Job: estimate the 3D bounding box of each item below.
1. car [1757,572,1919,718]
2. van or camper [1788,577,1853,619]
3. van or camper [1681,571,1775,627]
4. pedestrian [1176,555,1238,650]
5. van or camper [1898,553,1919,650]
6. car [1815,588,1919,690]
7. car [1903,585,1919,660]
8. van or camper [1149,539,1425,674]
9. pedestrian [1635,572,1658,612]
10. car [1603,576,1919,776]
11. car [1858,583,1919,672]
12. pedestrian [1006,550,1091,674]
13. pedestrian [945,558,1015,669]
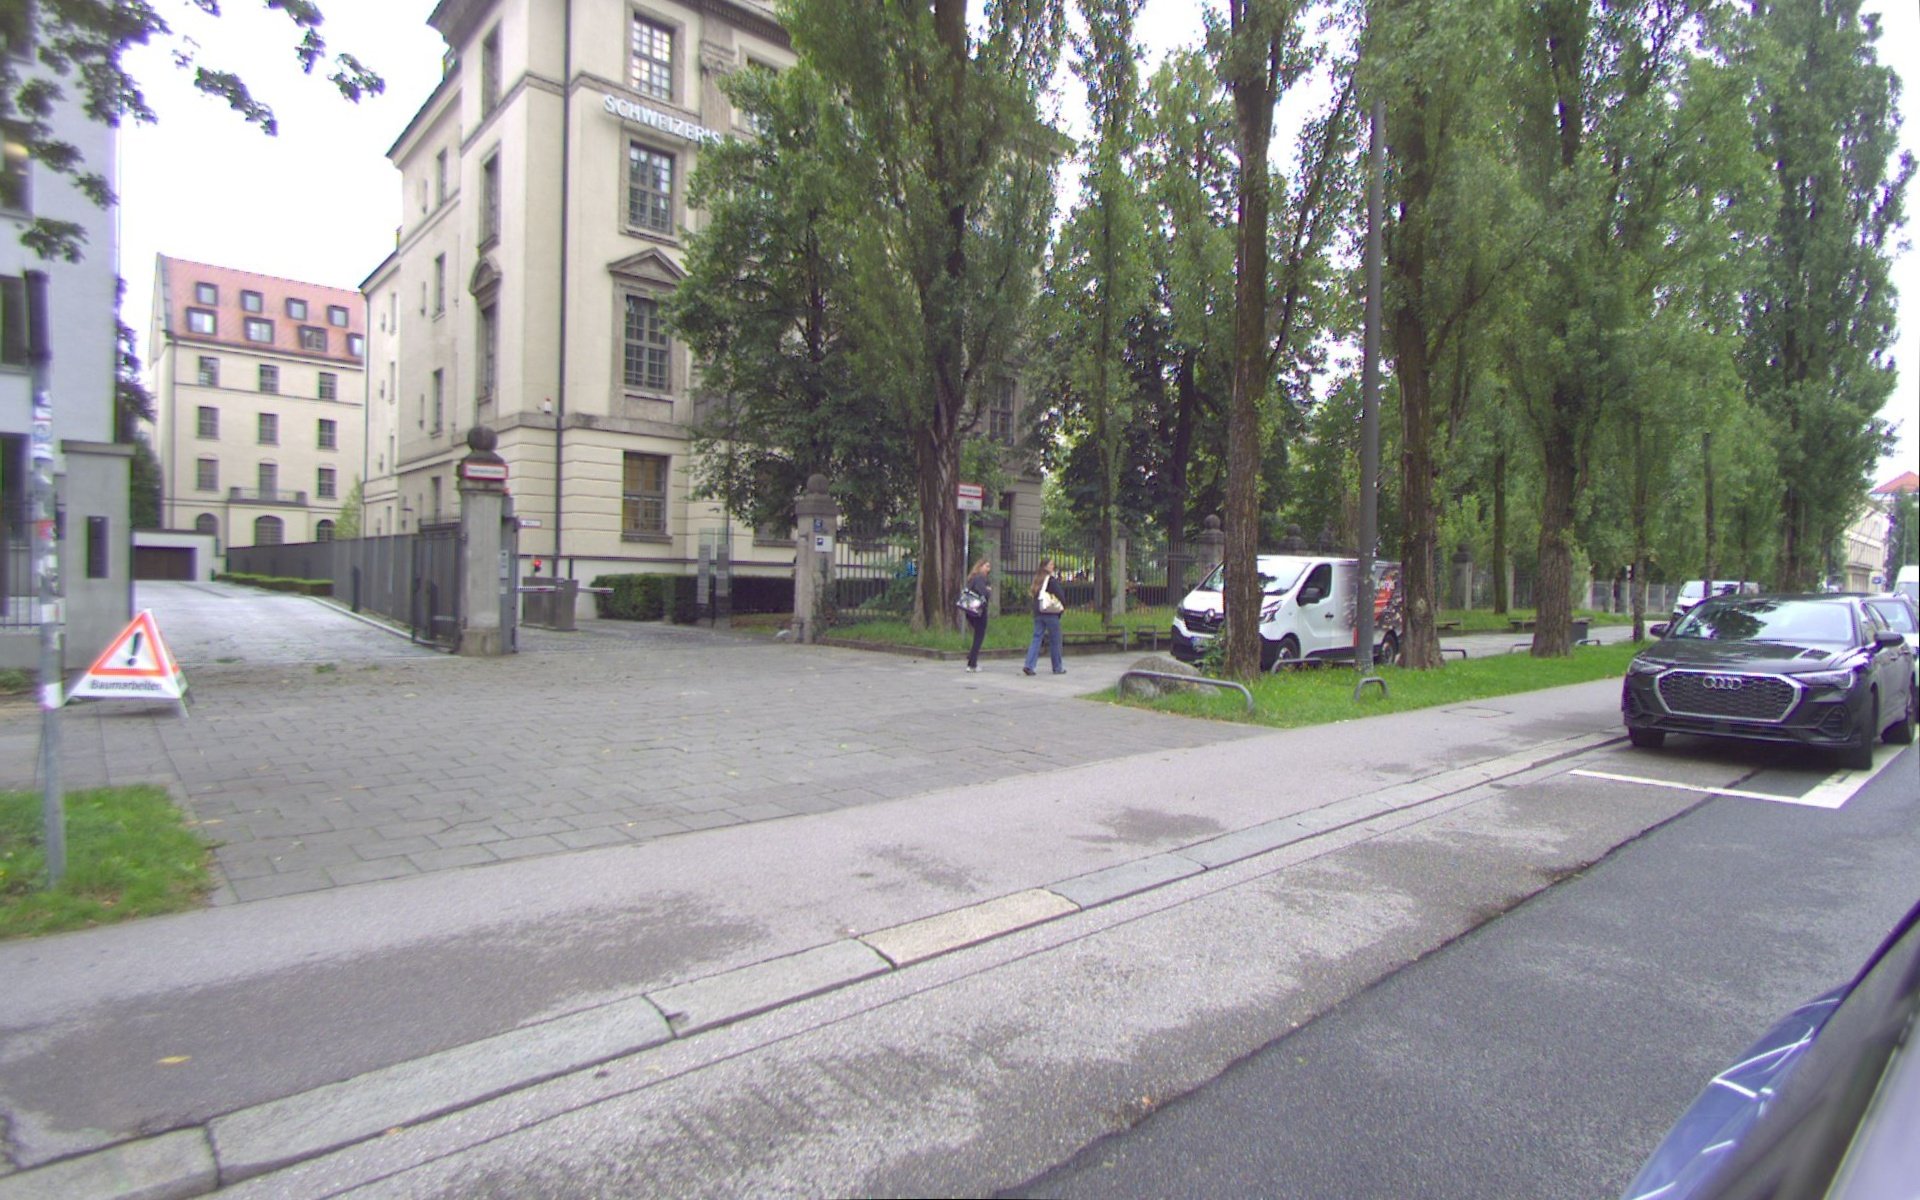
[{"bbox_3d":[12.544,0.522,13.893,4.500,1.696,1.746,0,1,-42],"label":"car"},{"bbox_3d":[43.318,-0.108,50.909,4.902,2.039,2.005,0,0,-43],"label":"van or camper"},{"bbox_3d":[29.011,-0.042,38.180,4.952,1.958,1.978,0,0,-42],"label":"van or camper"},{"bbox_3d":[4.884,0.040,20.014,0.852,1.791,0.723,0,4,-41],"label":"pedestrian"},{"bbox_3d":[28.331,0.060,28.543,6.306,2.572,2.142,0,1,-42],"label":"van or camper"},{"bbox_3d":[16.062,0.608,17.233,4.221,1.539,1.705,0,1,-42],"label":"car"},{"bbox_3d":[23.561,0.539,23.796,4.344,1.669,1.786,0,1,-44],"label":"car"},{"bbox_3d":[5.699,0.092,17.225,5.275,1.958,2.080,0,0,-41],"label":"van or camper"},{"bbox_3d":[35.461,-0.437,52.276,0.898,2.038,0.946,2,1,33],"label":"pedestrian"},{"bbox_3d":[8.280,0.595,10.184,4.386,1.560,1.884,0,1,-41],"label":"car"},{"bbox_3d":[19.665,0.530,20.424,4.557,1.638,1.787,0,1,-42],"label":"car"},{"bbox_3d":[1.307,0.154,14.932,0.852,1.738,0.855,0,2,-42],"label":"pedestrian"},{"bbox_3d":[0.301,0.190,15.115,0.852,1.598,0.568,0,1,-42],"label":"pedestrian"}]
